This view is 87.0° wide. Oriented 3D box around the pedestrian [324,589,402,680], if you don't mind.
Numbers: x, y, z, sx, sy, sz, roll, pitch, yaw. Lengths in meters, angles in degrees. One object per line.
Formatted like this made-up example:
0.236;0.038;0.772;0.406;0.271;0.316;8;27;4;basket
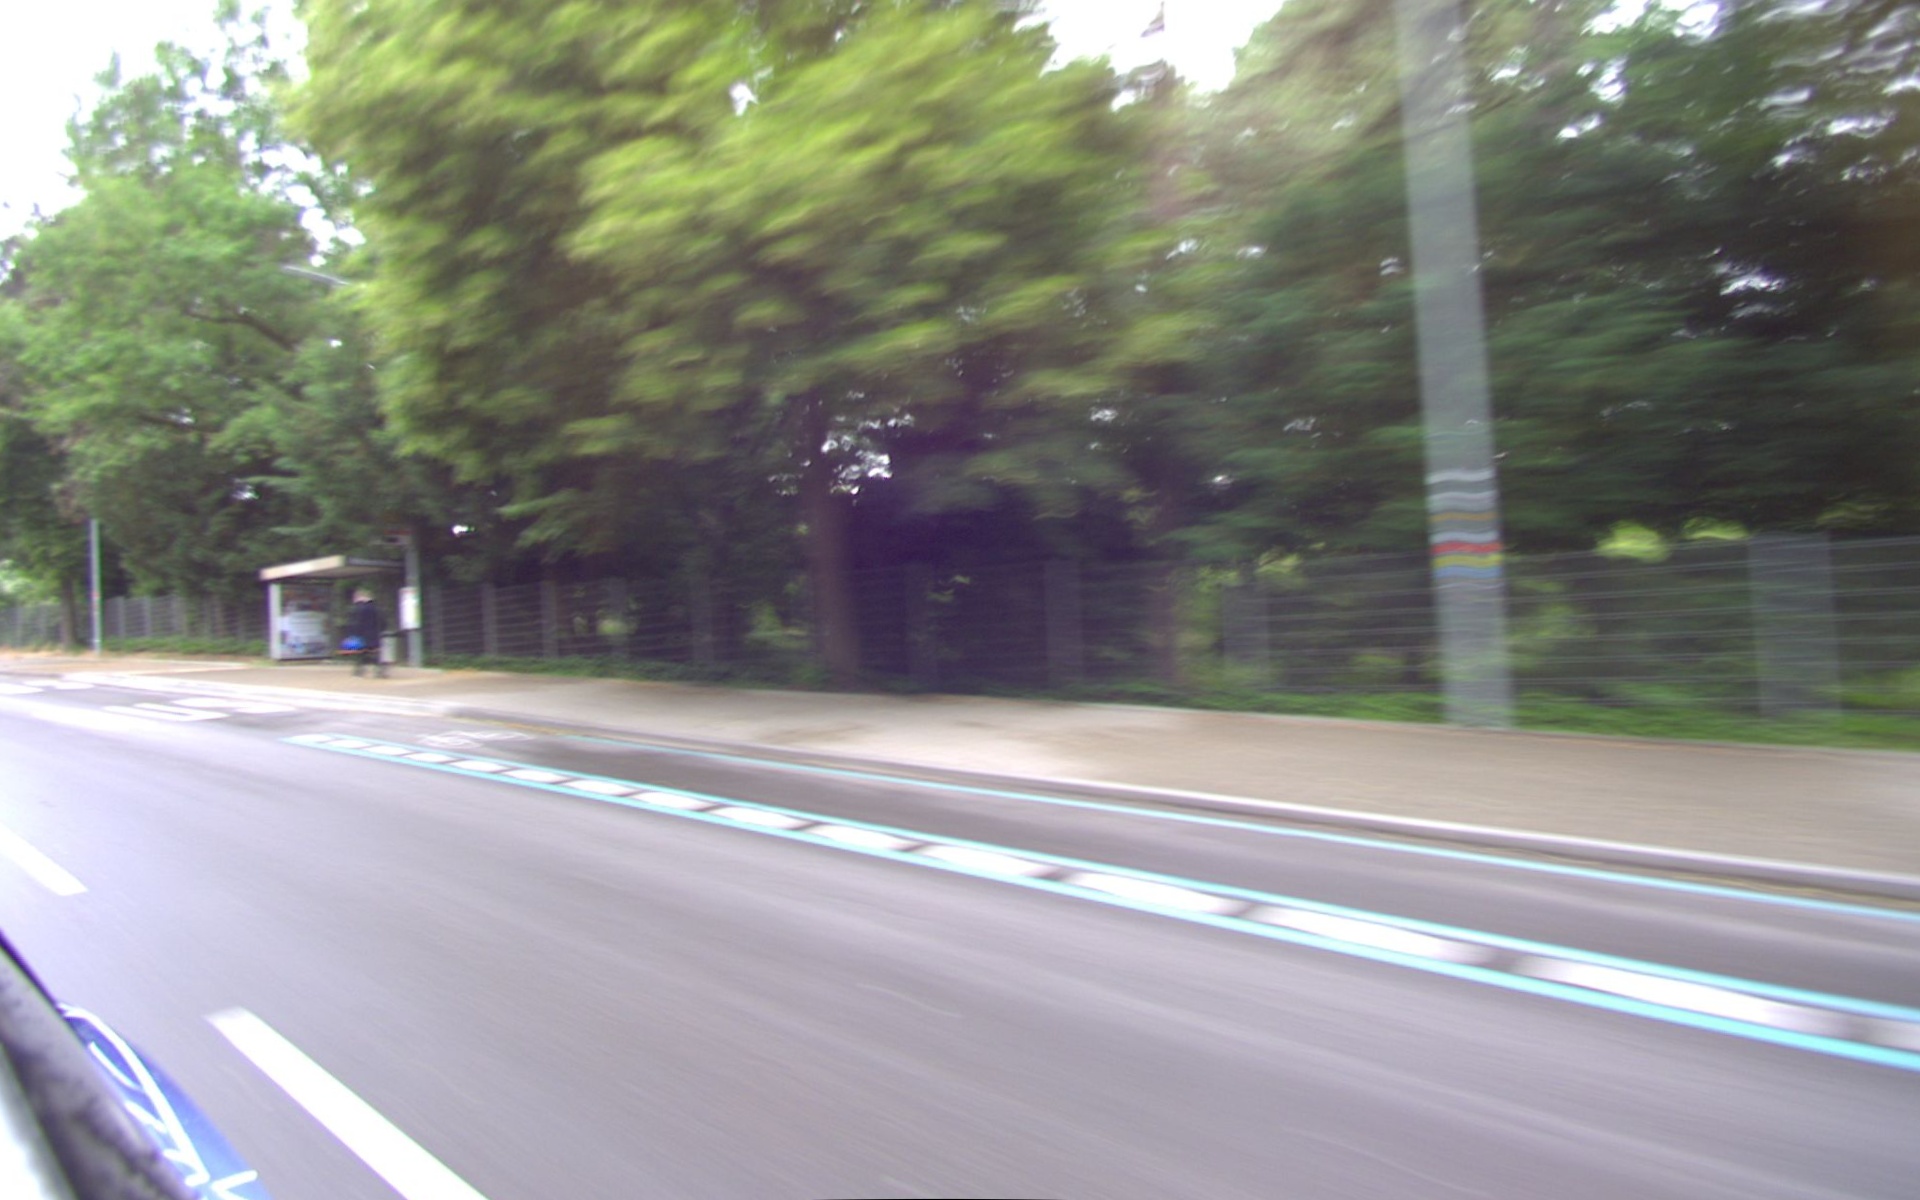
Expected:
-11.901;0.674;20.188;1.143;1.746;0.880;-2;0;33;pedestrian
